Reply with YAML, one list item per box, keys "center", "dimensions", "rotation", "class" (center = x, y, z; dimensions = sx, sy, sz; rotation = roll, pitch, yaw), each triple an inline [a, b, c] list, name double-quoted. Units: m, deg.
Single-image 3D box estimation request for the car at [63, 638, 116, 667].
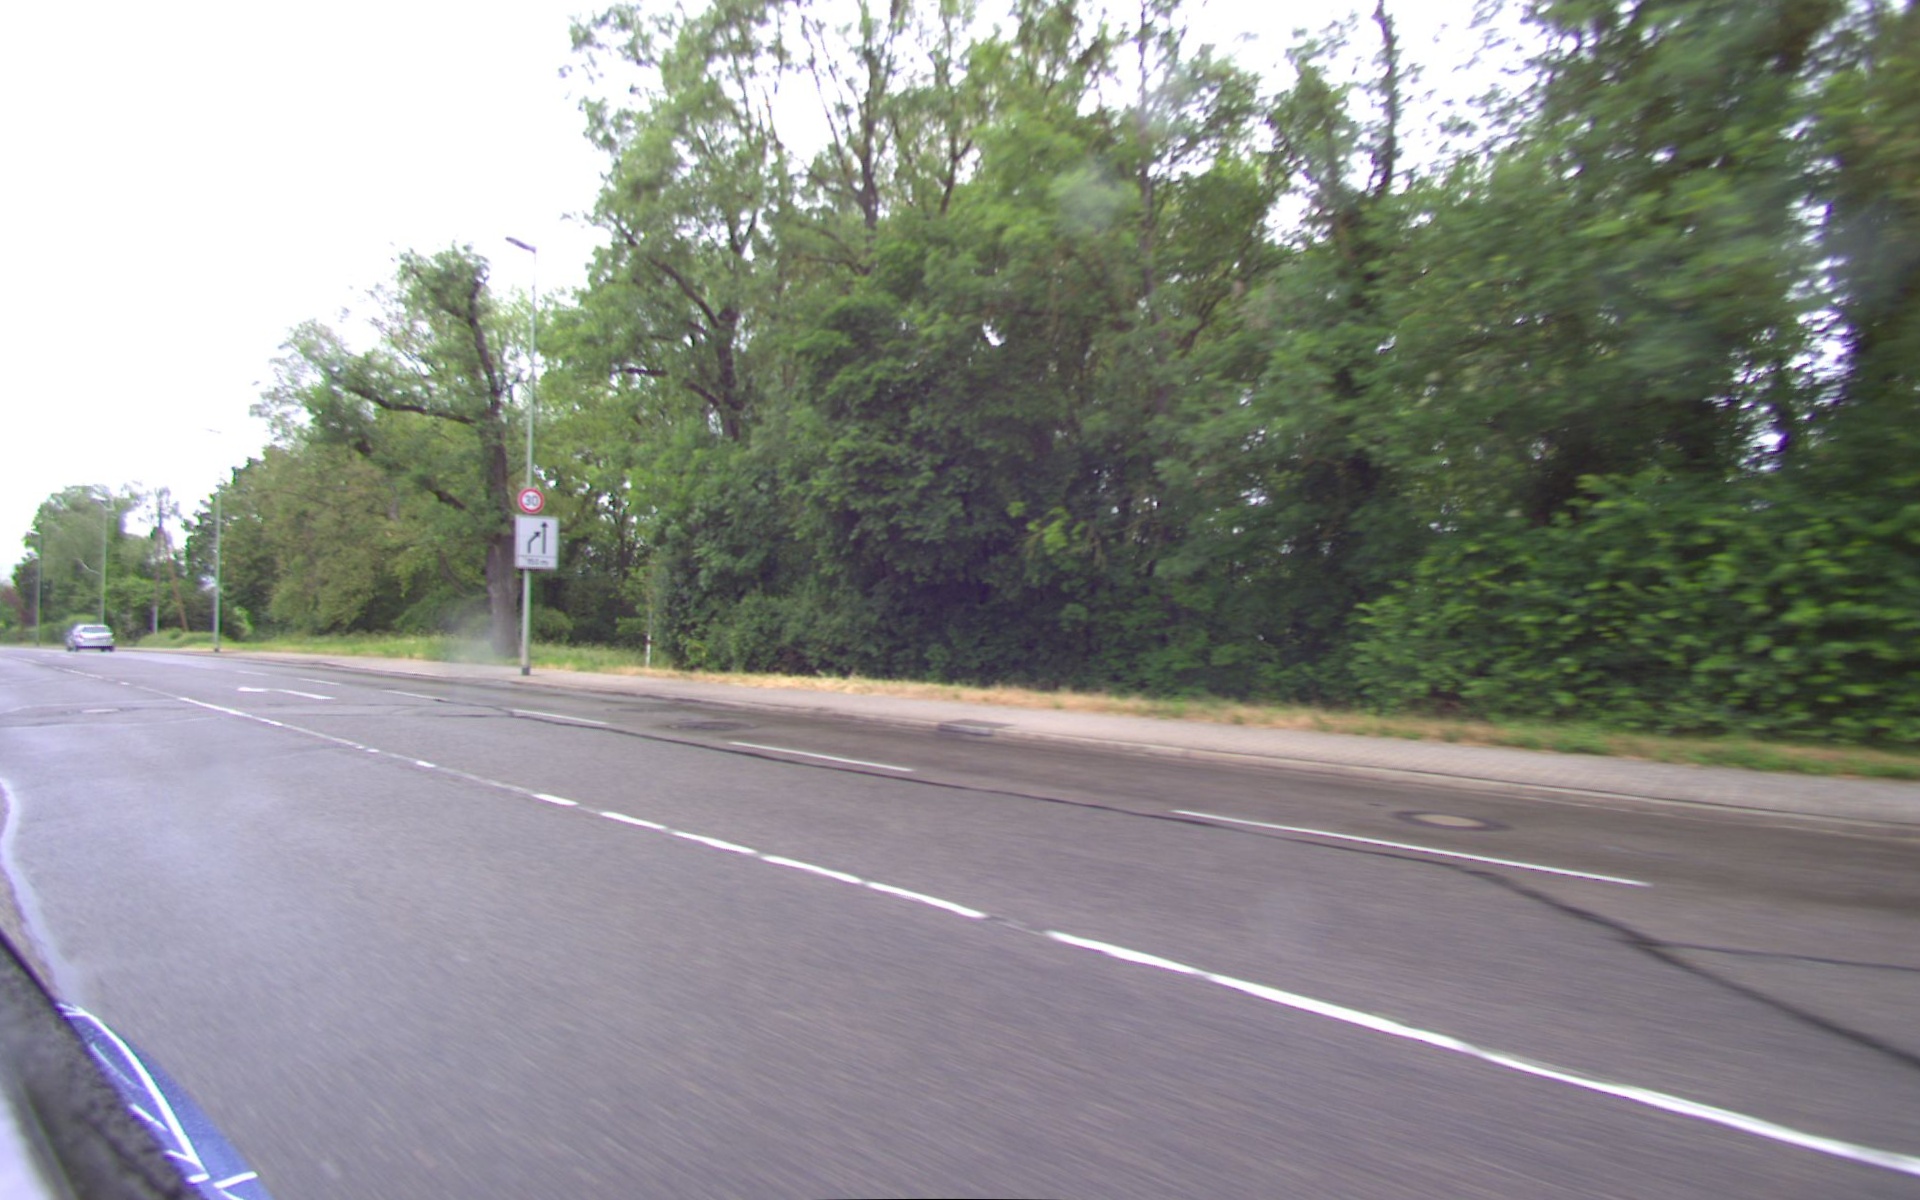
- center: [-47.810, 2.876, 55.555]
  dimensions: [4.452, 1.494, 1.671]
  rotation: [-2, -4, 43]
  class: "car"
